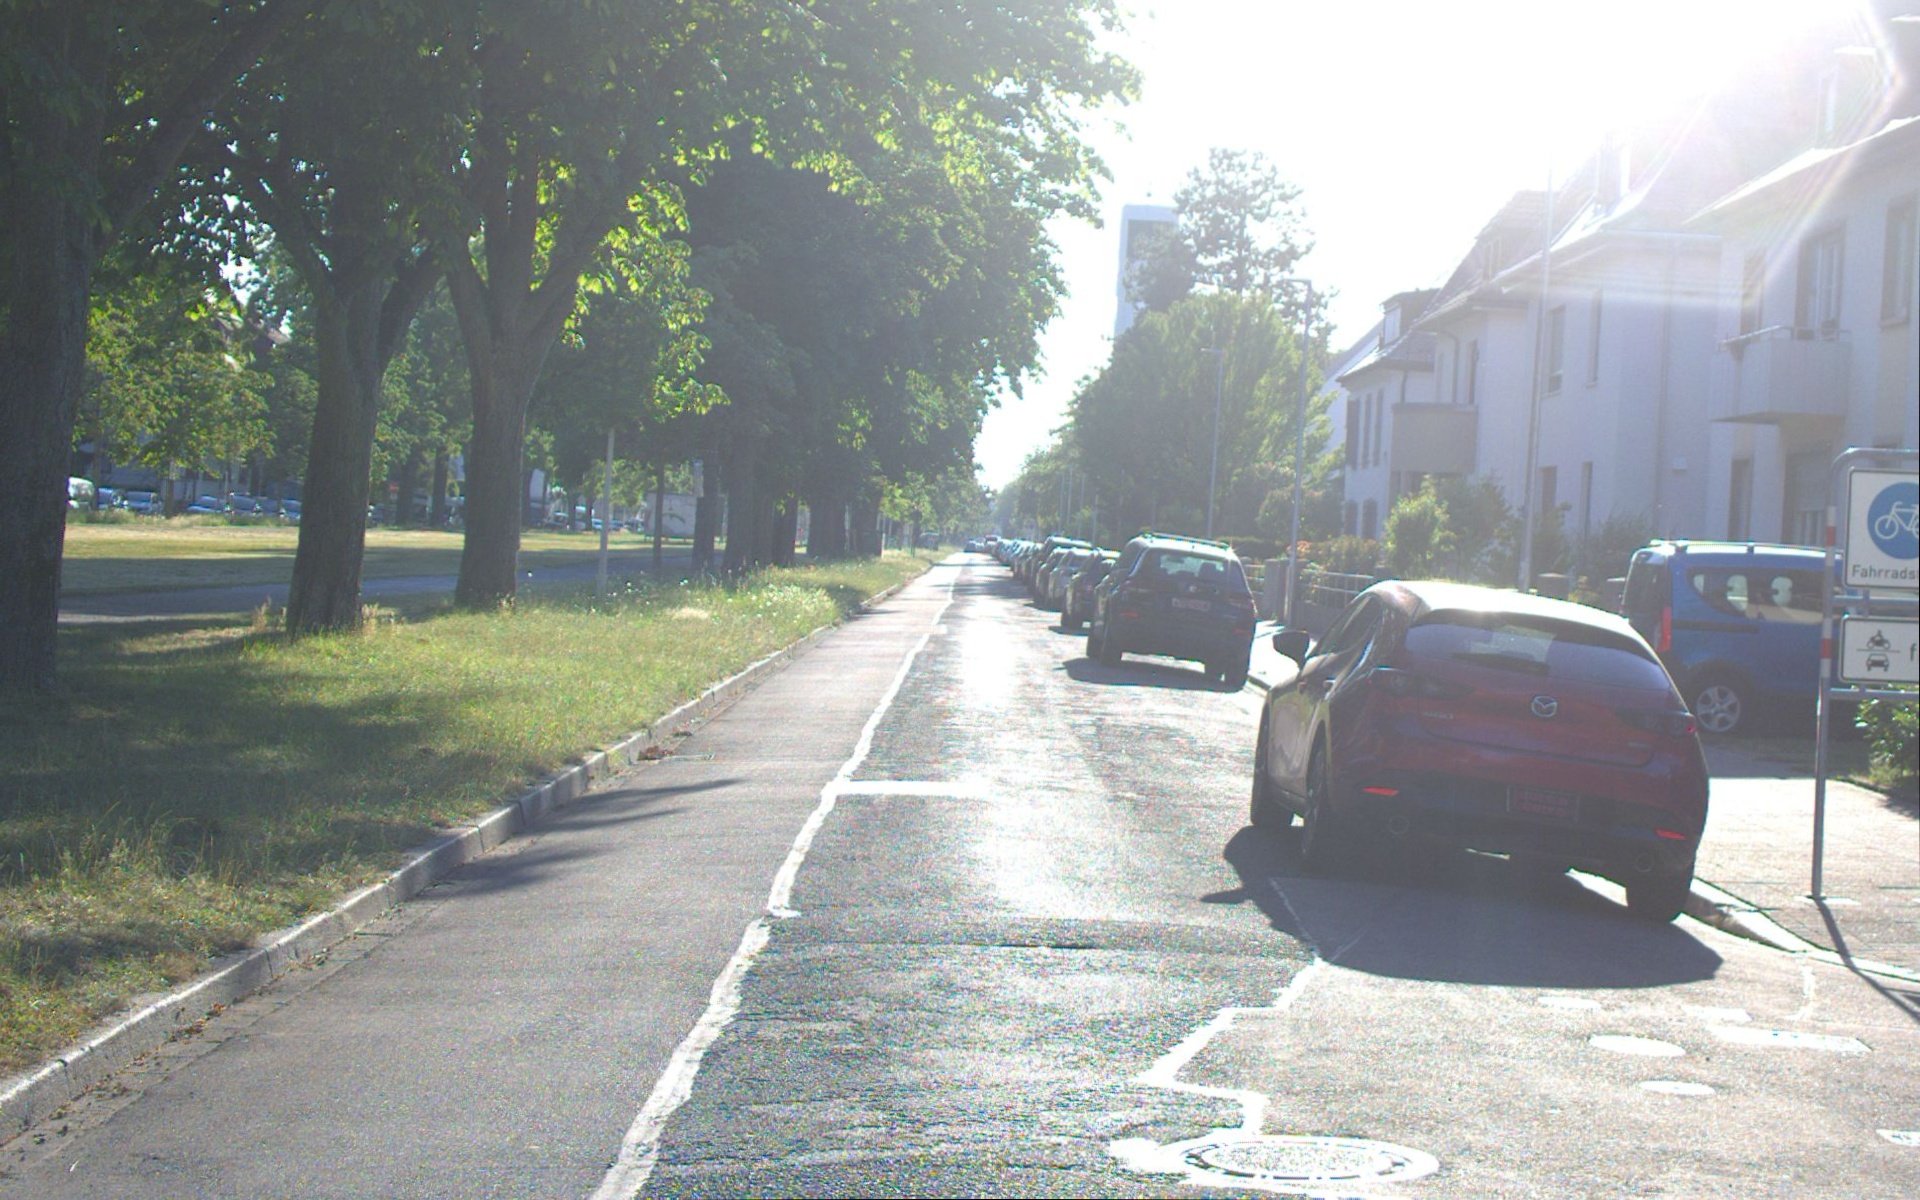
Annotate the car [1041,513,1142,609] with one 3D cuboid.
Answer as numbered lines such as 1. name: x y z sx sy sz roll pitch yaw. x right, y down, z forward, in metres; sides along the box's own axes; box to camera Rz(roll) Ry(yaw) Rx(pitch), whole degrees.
1. car: 3.069 -0.904 81.039 1.993 2.007 4.000 6 0 -1

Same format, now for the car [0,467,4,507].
1. car: -39.805 -4.666 137.456 1.993 1.612 4.000 6 0 -1

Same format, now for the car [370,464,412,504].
1. car: -32.206 -6.585 194.741 1.654 1.931 3.567 6 -1 0

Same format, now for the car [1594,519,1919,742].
1. car: 8.192 0.339 32.420 3.986 1.816 1.760 3 -5 -4

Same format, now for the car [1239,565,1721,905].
1. car: 2.501 0.595 17.512 1.709 1.355 4.203 6 0 0

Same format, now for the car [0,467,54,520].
1. car: -35.086 -3.983 127.725 1.728 1.684 3.879 6 -1 -1

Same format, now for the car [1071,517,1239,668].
1. car: 2.682 -0.113 48.148 1.882 1.853 4.000 6 0 -1

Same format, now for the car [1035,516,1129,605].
1. car: 3.065 -0.984 86.862 1.993 2.007 4.000 6 0 -1

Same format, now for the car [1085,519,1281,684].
1. car: 2.746 -0.027 43.172 1.993 1.775 4.000 6 1 -1

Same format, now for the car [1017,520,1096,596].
1. car: 2.812 -1.218 100.927 1.993 2.007 4.000 6 0 -1

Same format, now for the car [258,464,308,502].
1. car: -39.571 -6.846 201.042 1.993 1.906 4.000 6 0 0

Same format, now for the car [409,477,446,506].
1. car: -39.467 -8.059 254.893 1.993 2.007 4.000 4 1 0

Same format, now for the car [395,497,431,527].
1. car: -33.577 -5.392 211.253 1.612 1.533 3.355 6 -1 -1

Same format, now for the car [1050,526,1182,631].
1. car: 2.725 -0.378 60.838 1.993 1.648 4.000 4 0 -1
